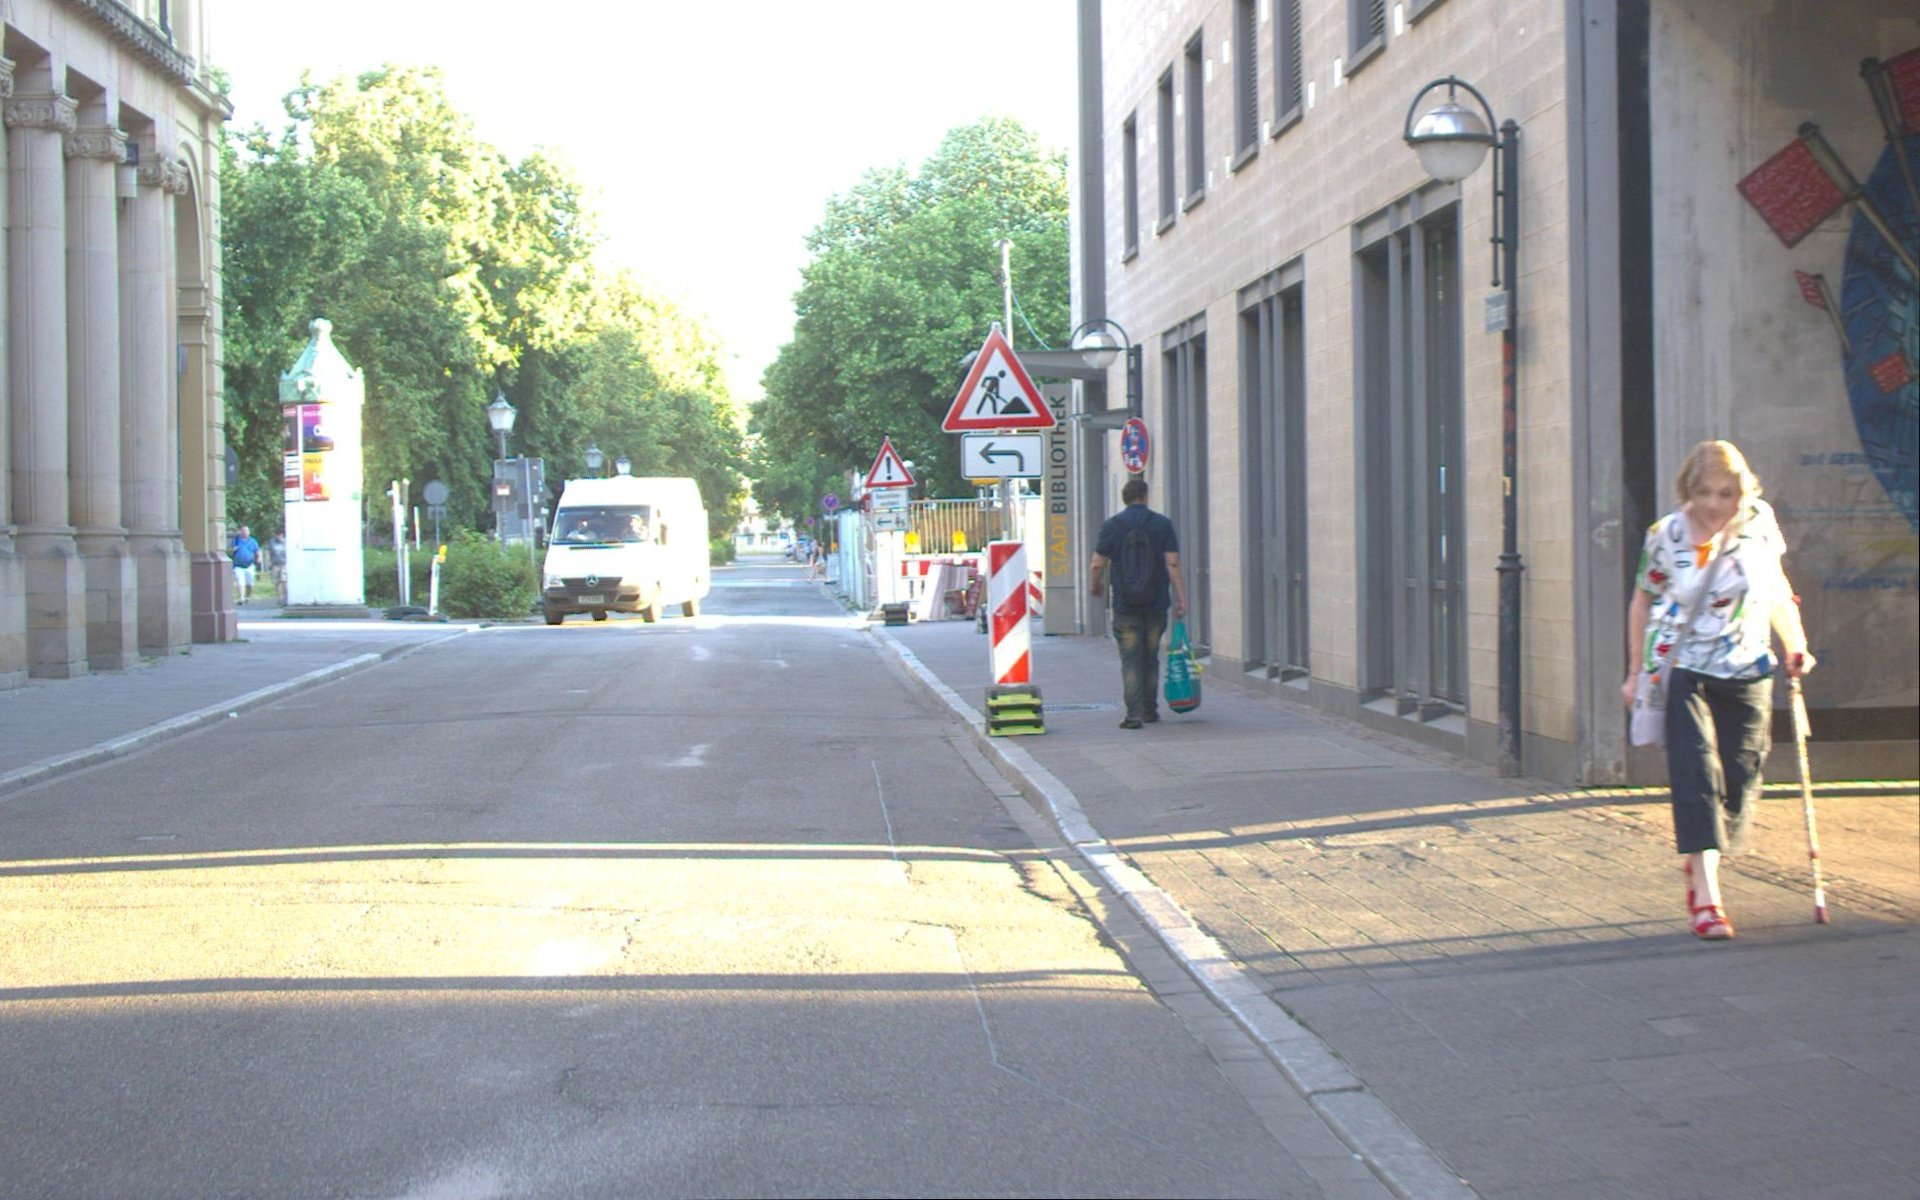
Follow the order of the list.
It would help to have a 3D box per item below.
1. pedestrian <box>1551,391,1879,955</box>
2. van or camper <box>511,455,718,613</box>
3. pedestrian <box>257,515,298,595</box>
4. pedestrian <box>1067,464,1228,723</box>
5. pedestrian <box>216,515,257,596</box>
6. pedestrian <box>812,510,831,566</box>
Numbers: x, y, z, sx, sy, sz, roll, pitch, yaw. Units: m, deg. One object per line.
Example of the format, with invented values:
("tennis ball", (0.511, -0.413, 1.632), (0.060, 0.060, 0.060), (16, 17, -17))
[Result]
("pedestrian", (2.543, 0.233, 11.676), (0.845, 1.797, 0.897), (-3, 1, 2))
("van or camper", (-5.893, -1.161, 59.613), (2.220, 2.576, 6.371), (0, 1, 7))
("pedestrian", (-15.358, -1.015, 77.383), (0.849, 1.801, 0.664), (0, 1, -16))
("pedestrian", (1.337, -0.052, 24.683), (1.000, 1.797, 0.882), (-2, 0, -4))
("pedestrian", (-16.208, -1.000, 77.052), (0.849, 1.801, 0.664), (0, 1, -16))
("pedestrian", (-4.971, -2.237, 123.728), (0.581, 2.007, 0.682), (0, 1, -11))
